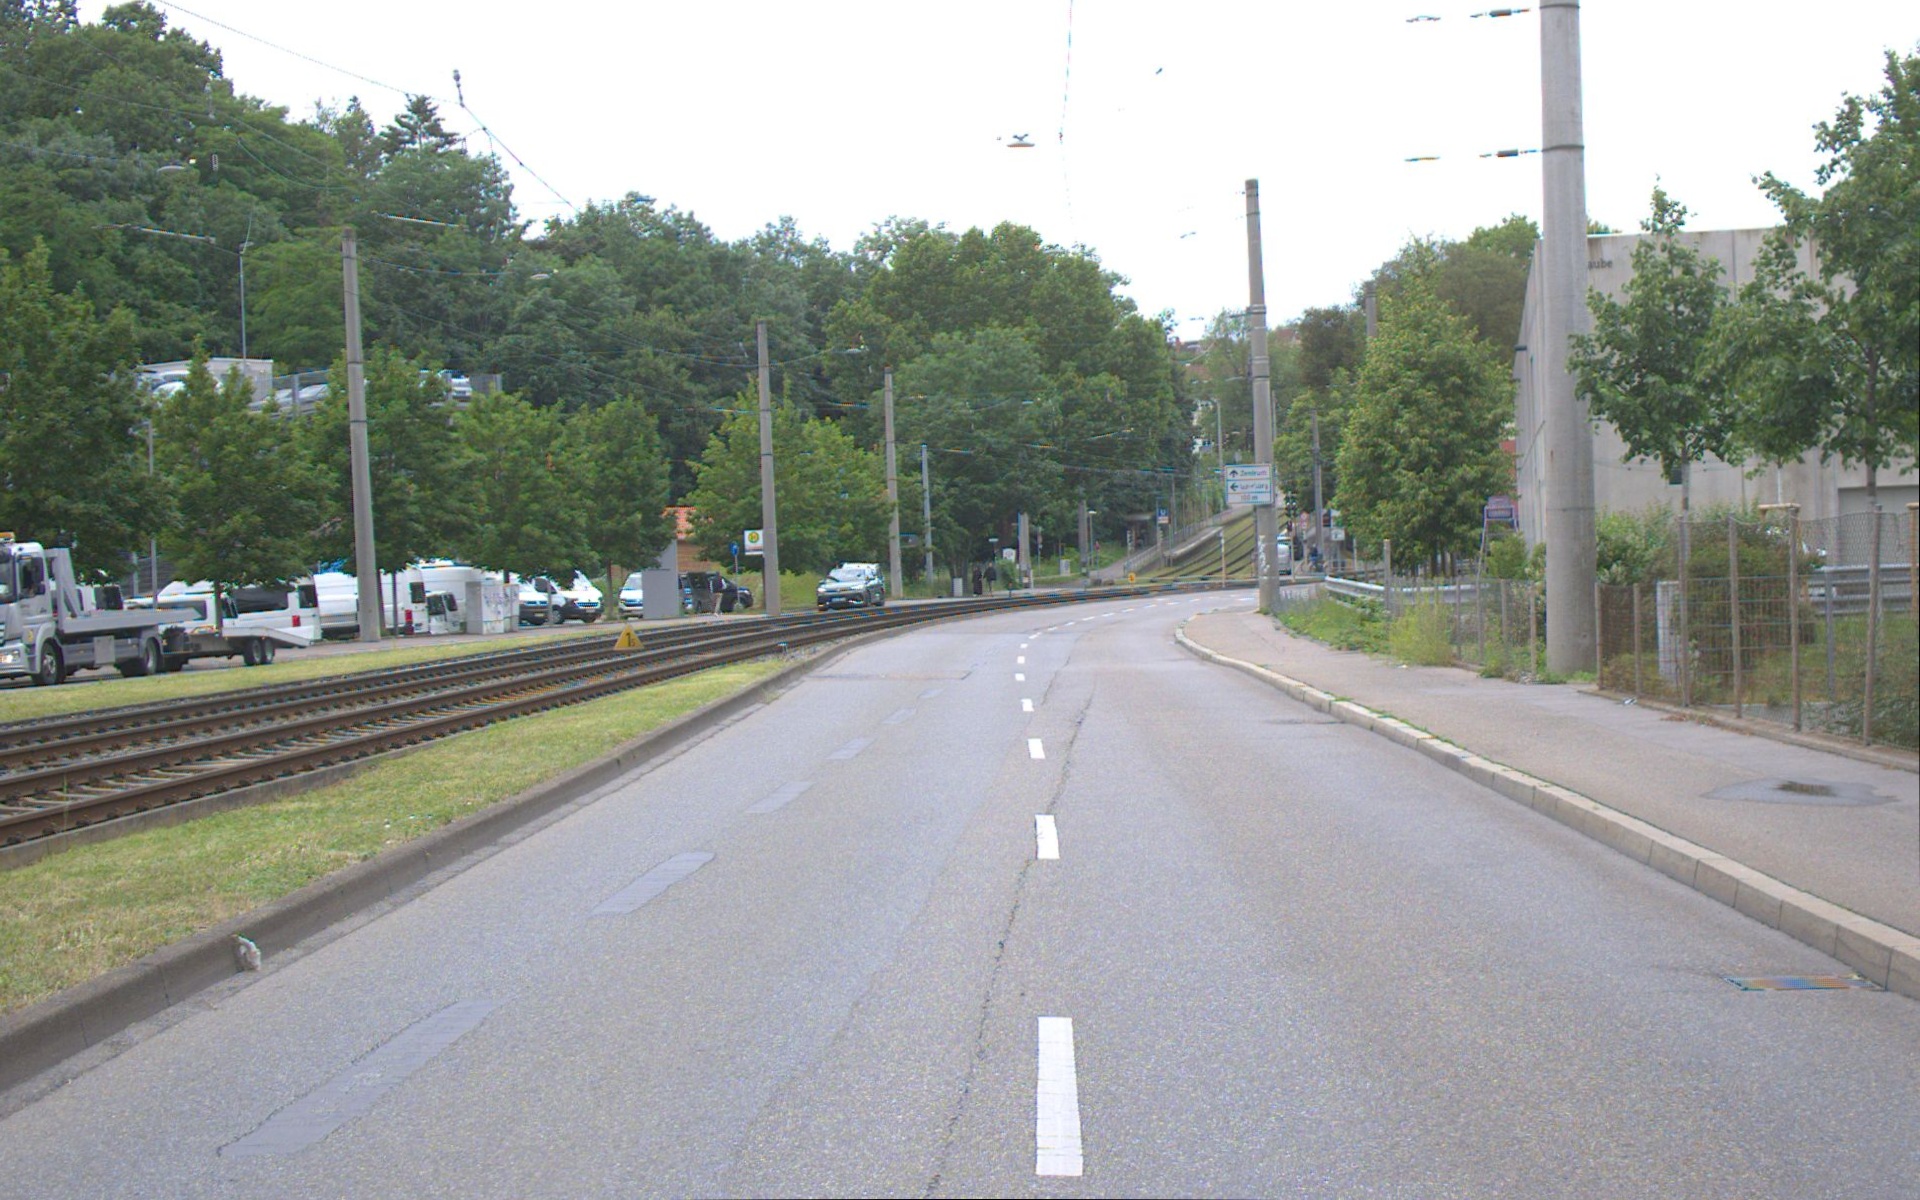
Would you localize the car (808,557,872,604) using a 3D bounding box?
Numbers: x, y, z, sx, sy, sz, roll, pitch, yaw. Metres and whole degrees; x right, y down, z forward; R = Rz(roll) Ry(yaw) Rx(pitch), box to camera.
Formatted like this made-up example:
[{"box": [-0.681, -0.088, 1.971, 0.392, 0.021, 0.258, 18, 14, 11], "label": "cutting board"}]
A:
[{"box": [-4.376, -0.729, 125.700, 1.994, 1.634, 4.000, -2, 1, 2], "label": "car"}]

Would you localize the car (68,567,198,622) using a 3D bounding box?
[{"box": [-28.472, -0.195, 118.481, 4.128, 1.700, 1.834, -1, -3, -6], "label": "car"}]

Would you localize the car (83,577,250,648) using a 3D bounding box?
[{"box": [-21.510, 0.360, 93.256, 3.988, 1.700, 1.833, -2, -3, 8], "label": "car"}]

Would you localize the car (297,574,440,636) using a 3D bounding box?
[{"box": [-18.455, 0.163, 107.251, 3.988, 1.700, 1.833, -2, -3, 8], "label": "car"}]

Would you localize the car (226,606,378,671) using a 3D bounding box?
[{"box": [-19.534, 1.147, 102.176, 3.988, 1.700, 1.833, -2, 2, 8], "label": "car"}]

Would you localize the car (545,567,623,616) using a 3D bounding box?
[{"box": [-14.997, -0.314, 137.380, 1.829, 1.700, 4.140, -2, -3, 13], "label": "car"}]

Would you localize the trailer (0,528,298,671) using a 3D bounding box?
[{"box": [-16.329, -0.097, 68.242, 2.893, 2.574, 9.991, -2, 1, 10], "label": "trailer"}]

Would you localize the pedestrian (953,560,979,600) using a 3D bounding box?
[{"box": [0.318, -1.039, 179.464, 1.014, 2.007, 1.144, -3, -3, 18], "label": "pedestrian"}]

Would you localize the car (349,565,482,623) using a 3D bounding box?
[{"box": [-18.167, -0.198, 114.815, 3.988, 1.700, 1.833, -2, -3, 8], "label": "car"}]

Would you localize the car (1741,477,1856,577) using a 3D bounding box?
[{"box": [15.426, -1.342, 63.373, 1.829, 1.700, 3.804, -2, 1, 11], "label": "car"}]

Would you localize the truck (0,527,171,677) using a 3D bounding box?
[{"box": [-17.191, 0.007, 62.926, 2.884, 2.580, 6.909, -2, 1, 9], "label": "truck"}]

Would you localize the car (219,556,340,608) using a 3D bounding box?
[{"box": [-24.634, -0.651, 124.603, 4.128, 1.700, 1.834, -1, -3, -6], "label": "car"}]

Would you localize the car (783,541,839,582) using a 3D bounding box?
[{"box": [-6.295, -1.626, 145.206, 1.994, 1.634, 4.000, -2, 1, 2], "label": "car"}]

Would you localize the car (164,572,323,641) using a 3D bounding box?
[{"box": [-20.176, 0.198, 96.887, 3.988, 1.700, 1.833, -2, -3, 8], "label": "car"}]

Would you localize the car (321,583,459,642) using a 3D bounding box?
[{"box": [-18.376, 0.413, 110.893, 3.988, 1.700, 1.833, -2, -3, 8], "label": "car"}]
